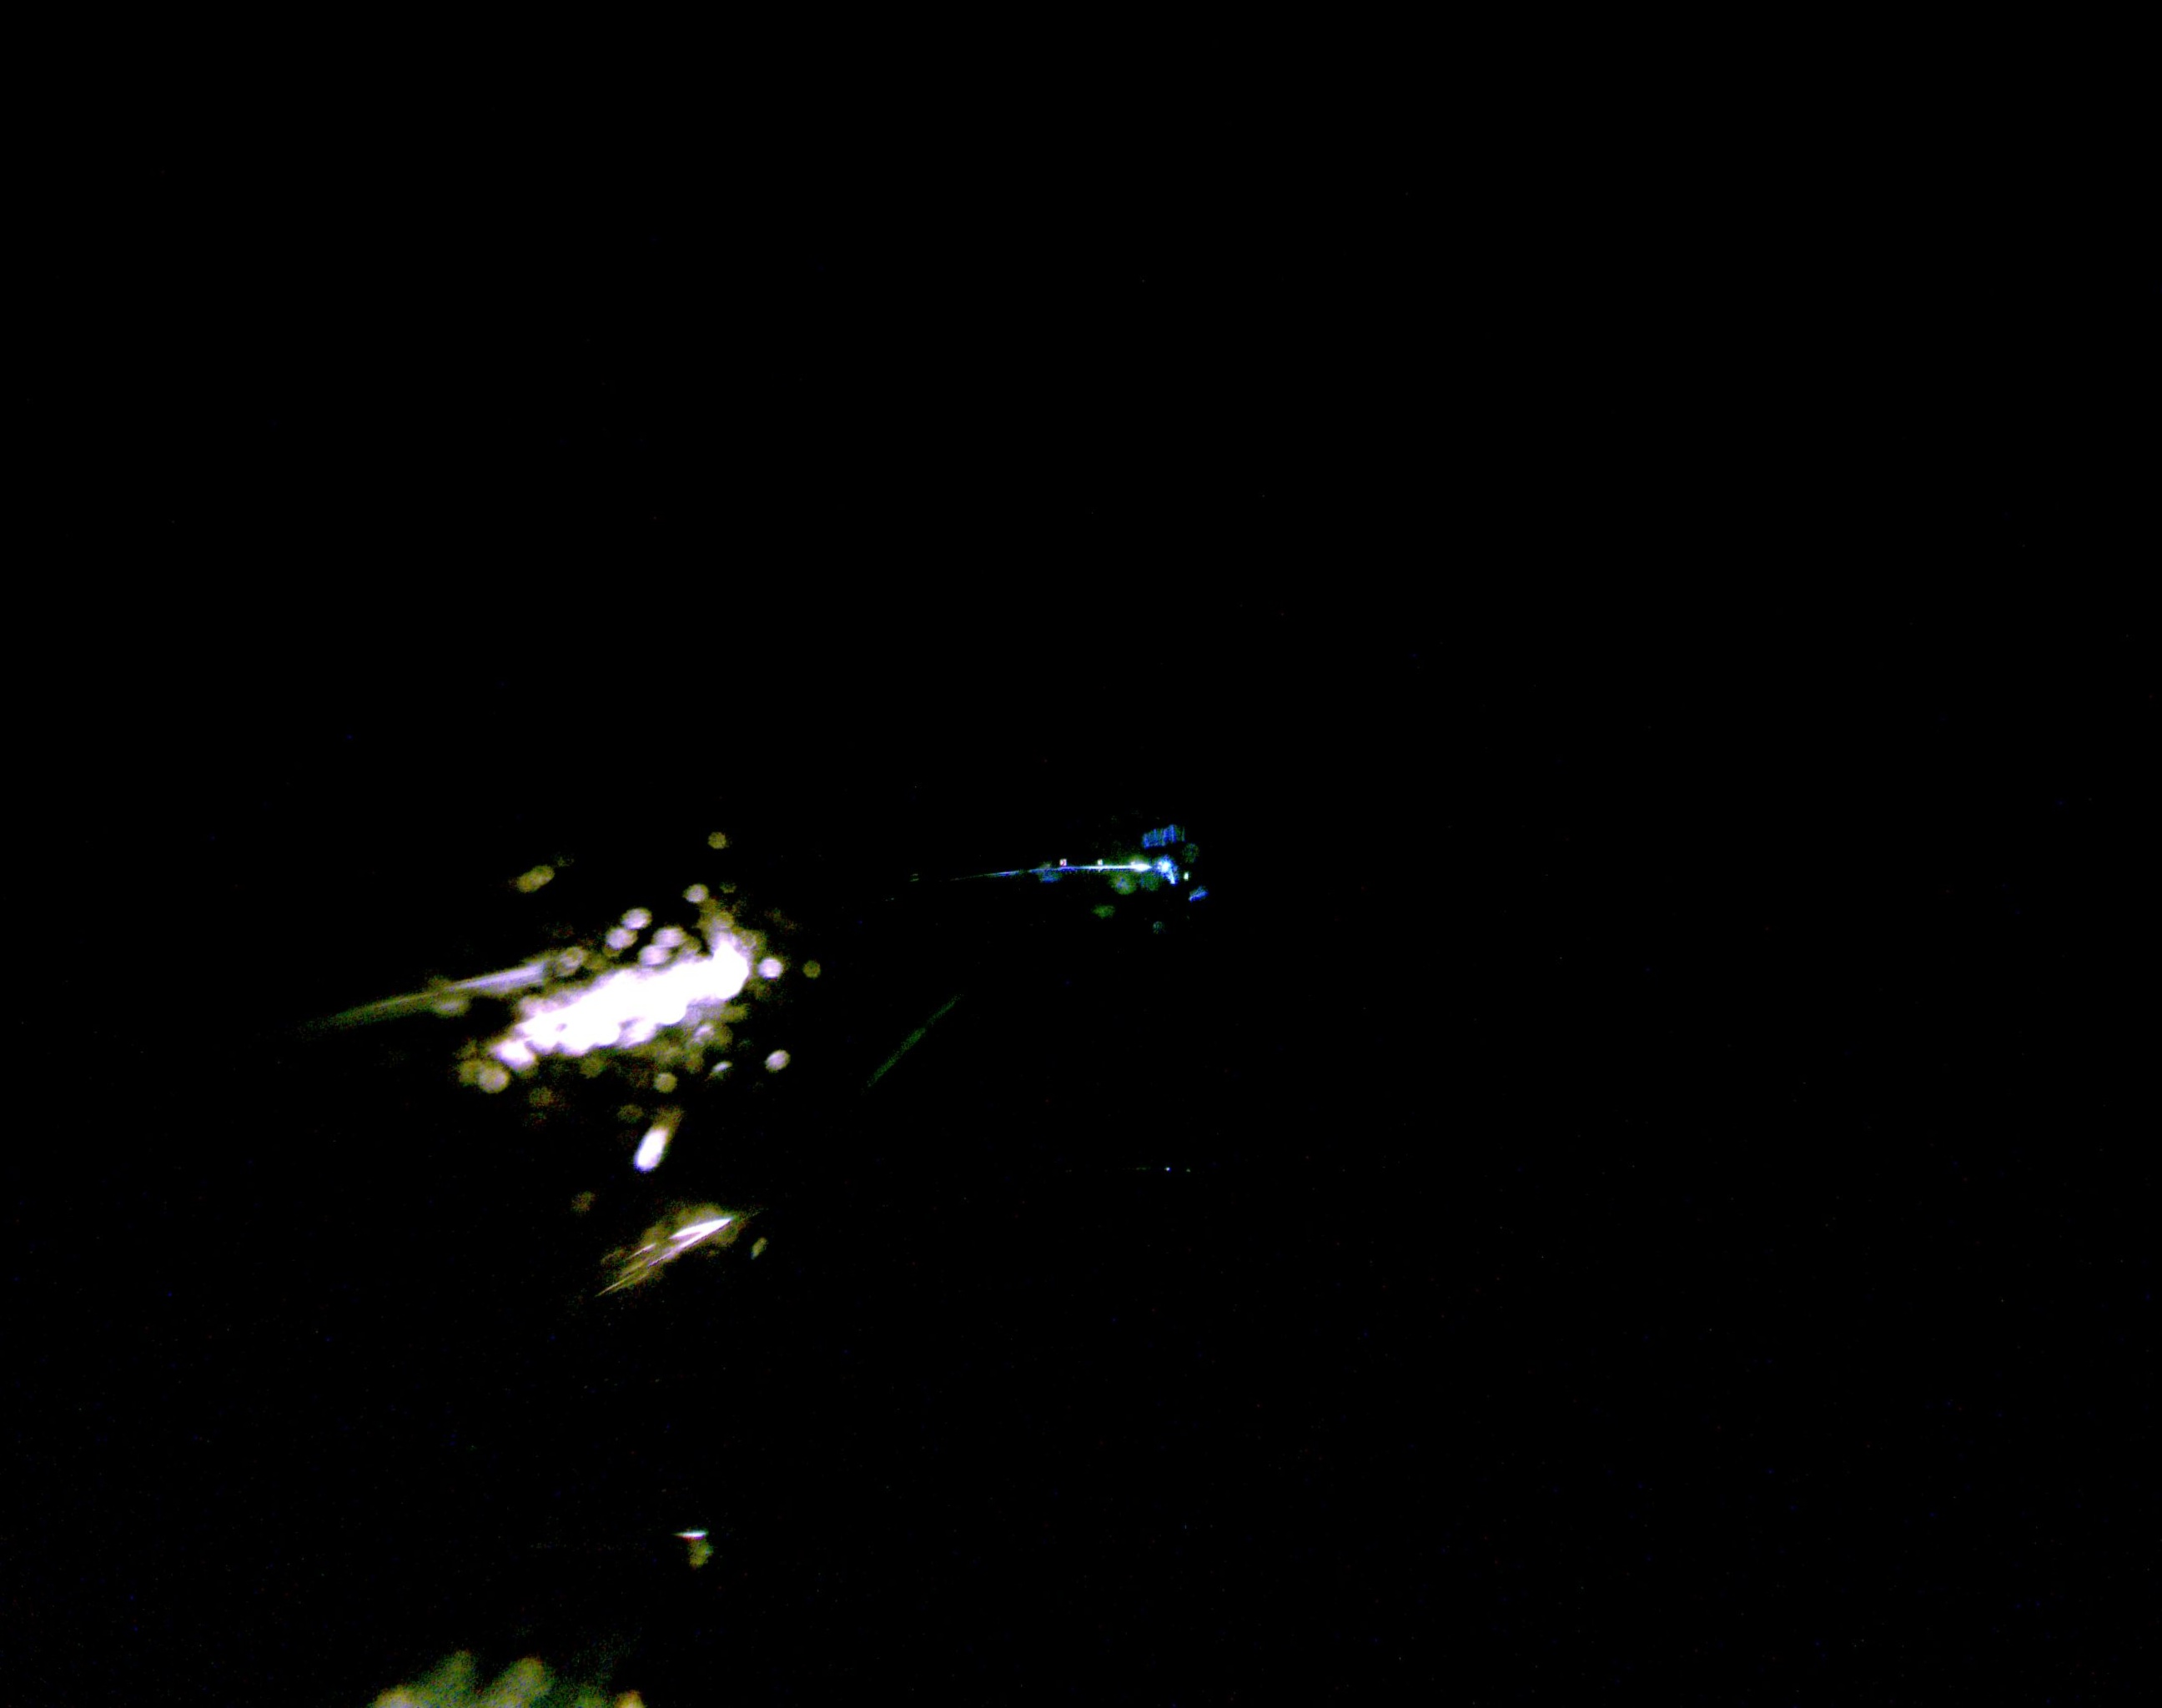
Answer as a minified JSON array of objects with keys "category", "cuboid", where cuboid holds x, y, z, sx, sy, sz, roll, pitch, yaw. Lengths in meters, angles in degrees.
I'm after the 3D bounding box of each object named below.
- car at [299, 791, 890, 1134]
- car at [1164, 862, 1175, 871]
[{"category":"car","cuboid":[-3.184,0.602,6.702,1.986,1.825,4.565,-1,0,2]},{"category":"car","cuboid":[16.260,2.300,149.459,1.983,1.693,4.705,-1,-2,6]}]
